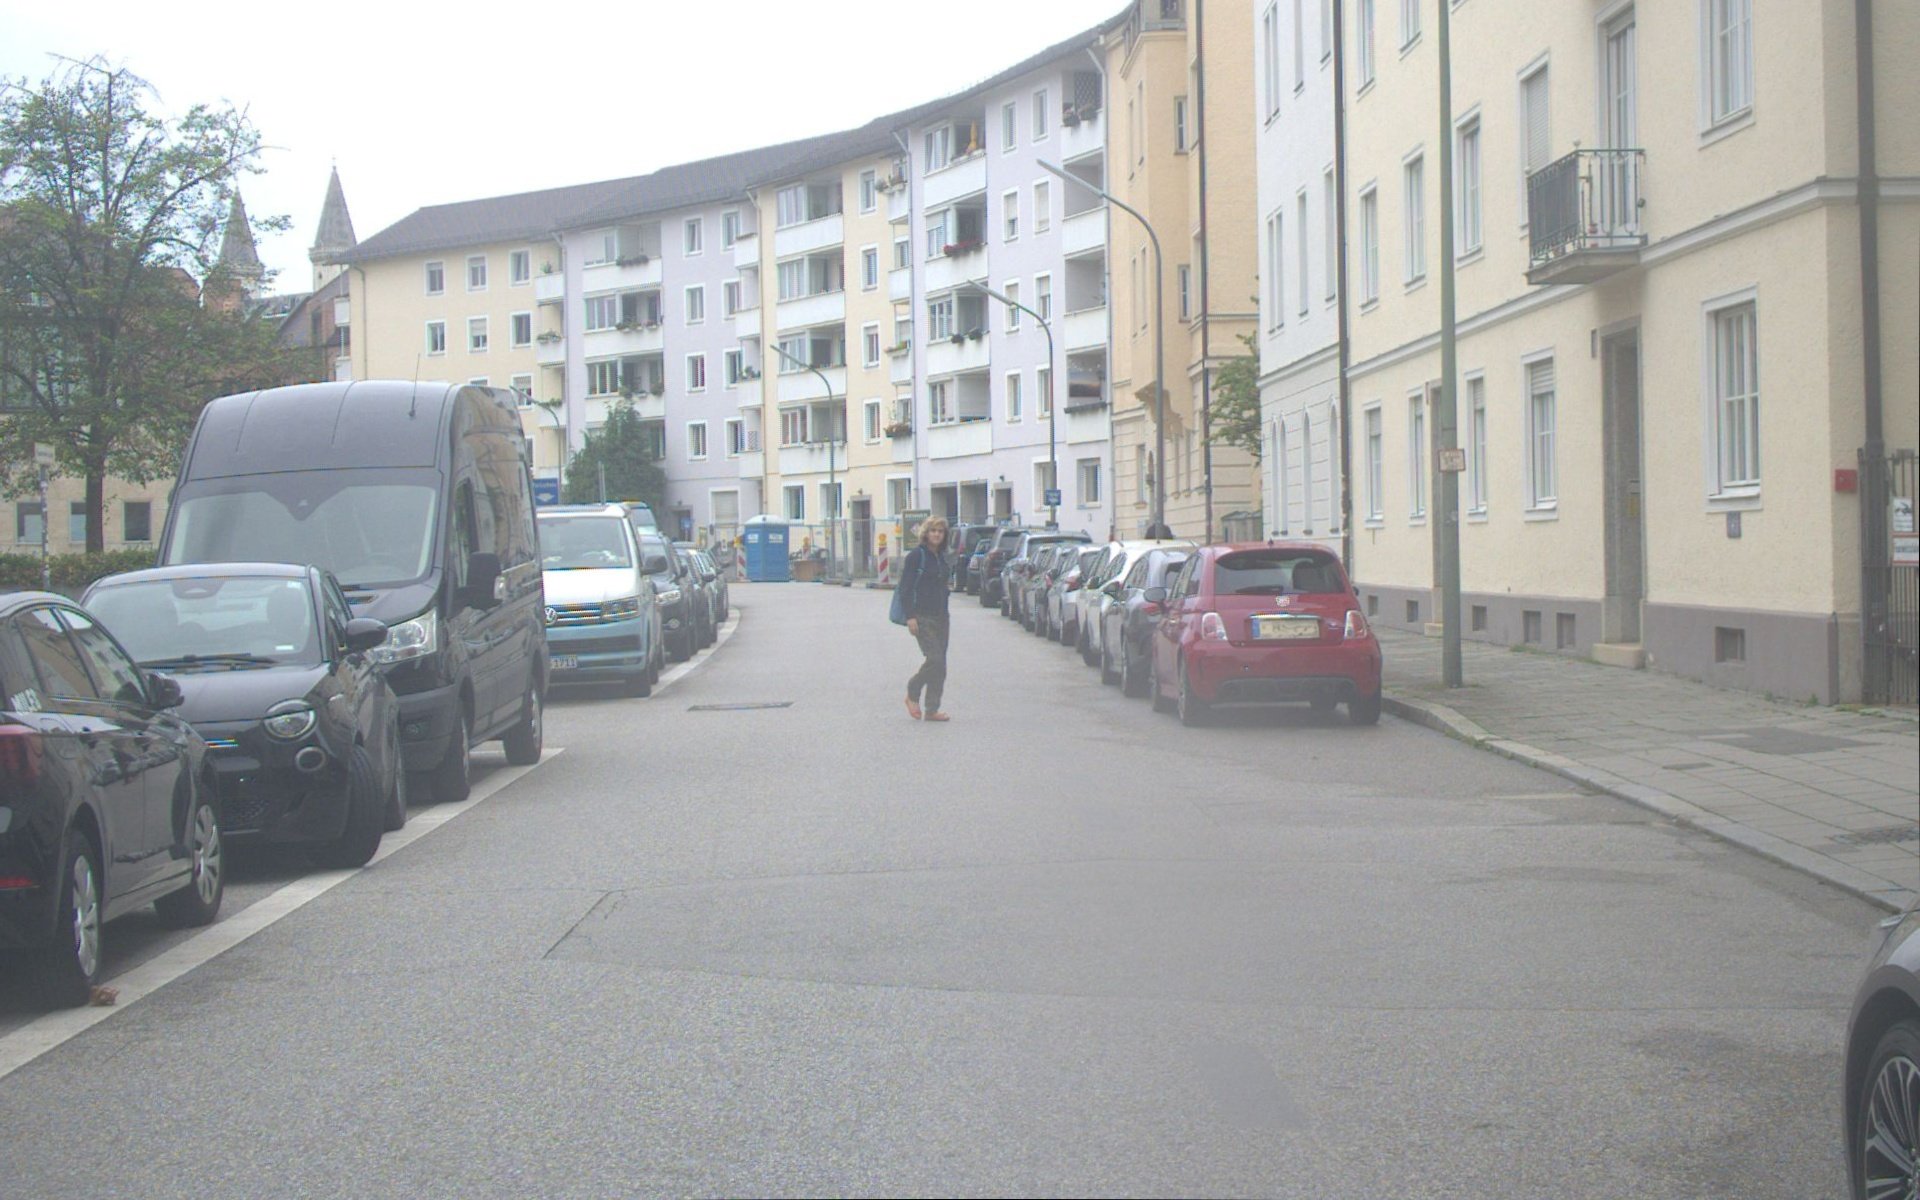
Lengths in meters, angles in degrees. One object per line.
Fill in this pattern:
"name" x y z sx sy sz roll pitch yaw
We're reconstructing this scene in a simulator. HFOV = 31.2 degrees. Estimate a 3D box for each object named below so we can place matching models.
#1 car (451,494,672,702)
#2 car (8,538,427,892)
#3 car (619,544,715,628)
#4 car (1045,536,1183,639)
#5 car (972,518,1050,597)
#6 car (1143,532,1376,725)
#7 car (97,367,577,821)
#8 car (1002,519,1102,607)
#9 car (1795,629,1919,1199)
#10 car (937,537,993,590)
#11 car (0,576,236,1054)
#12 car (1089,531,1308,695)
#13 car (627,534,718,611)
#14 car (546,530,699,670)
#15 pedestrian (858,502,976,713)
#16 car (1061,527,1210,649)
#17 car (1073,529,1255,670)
"car" -4.057 -0.080 35.666 1.882 1.925 4.602 -3 2 -3
"car" -3.681 0.496 17.570 1.585 1.533 3.544 -1 2 -4
"car" -5.256 -0.276 61.977 1.623 1.414 3.982 -2 1 -4
"car" 2.199 -0.196 50.024 1.692 1.427 3.945 0 1 -2
"car" 1.088 -0.938 74.446 1.474 1.635 4.001 0 1 -2
"car" 2.488 0.192 29.274 1.595 1.503 3.801 -1 1 0
"car" -3.951 -0.111 22.842 2.088 2.627 5.377 -1 2 1
"car" 1.699 -0.723 64.478 1.590 1.576 4.300 0 1 -2
"car" 2.737 0.776 5.154 1.763 1.403 4.079 -1 1 -3
"car" 0.117 -0.934 86.441 1.272 1.294 2.798 0 1 -2
"car" -3.879 0.681 12.900 1.700 1.441 3.825 0 2 -3
"car" 2.305 0.096 34.222 1.692 1.486 4.343 -1 1 -2
"car" -5.605 -0.566 67.329 1.623 1.414 3.982 -2 1 -3
"car" -4.476 -0.045 46.123 1.701 1.685 4.028 -3 2 -2
"pedestrian" -0.358 0.066 28.454 0.793 1.722 0.673 1 -1 -19
"car" 2.258 -0.194 44.985 1.599 1.486 3.799 -1 2 -2
"car" 2.323 -0.053 40.096 1.692 1.486 4.283 -1 2 -2
